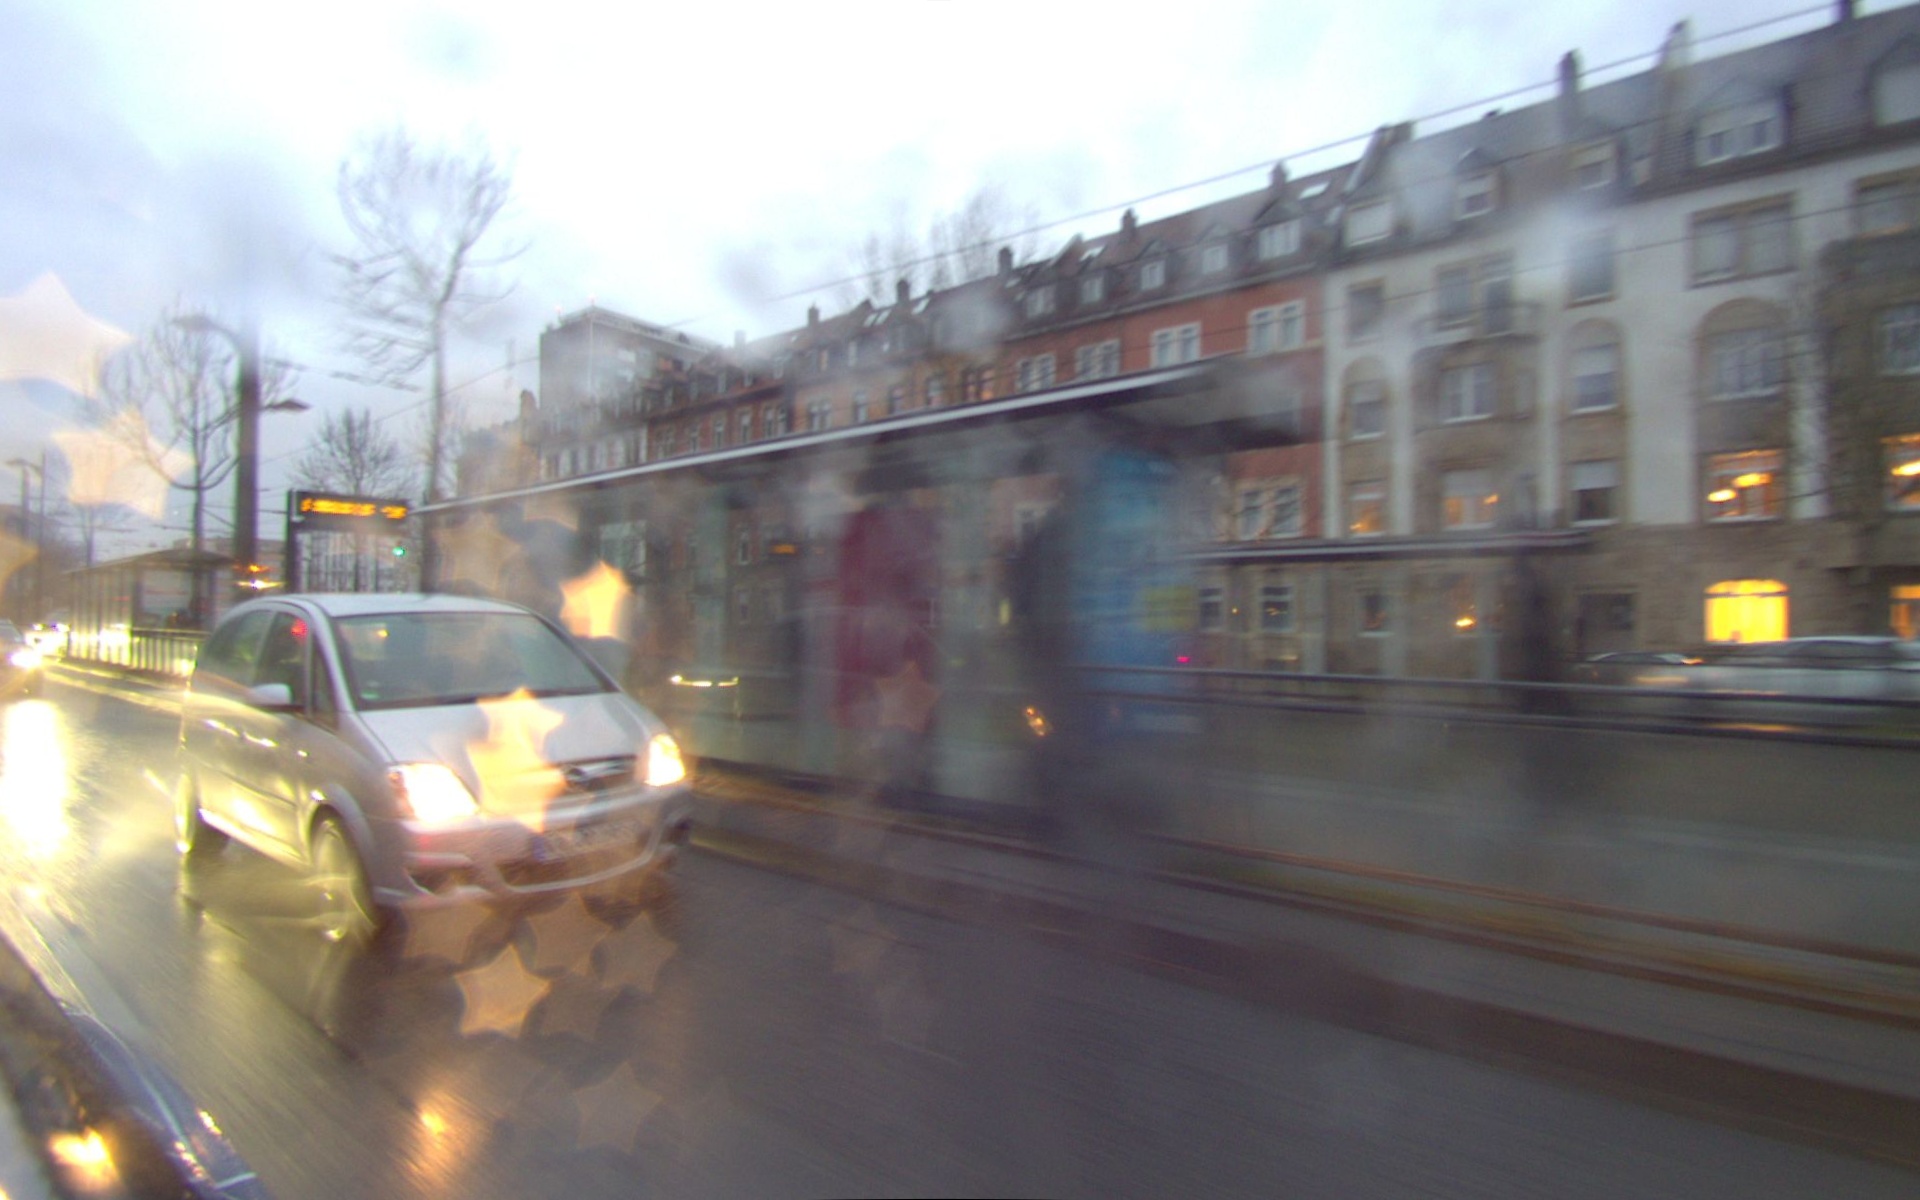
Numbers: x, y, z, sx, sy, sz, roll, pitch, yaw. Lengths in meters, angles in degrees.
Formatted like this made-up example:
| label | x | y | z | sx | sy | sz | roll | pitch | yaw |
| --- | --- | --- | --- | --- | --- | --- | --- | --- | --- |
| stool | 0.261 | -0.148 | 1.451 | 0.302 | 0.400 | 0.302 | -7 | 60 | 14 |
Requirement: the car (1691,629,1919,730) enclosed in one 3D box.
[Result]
| label | x | y | z | sx | sy | sz | roll | pitch | yaw |
| --- | --- | --- | --- | --- | --- | --- | --- | --- | --- |
| car | 14.252 | 1.248 | 16.396 | 3.765 | 1.501 | 1.637 | -1 | -4 | 41 |

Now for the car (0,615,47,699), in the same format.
| label | x | y | z | sx | sy | sz | roll | pitch | yaw |
| --- | --- | --- | --- | --- | --- | --- | --- | --- | --- |
| car | -19.317 | 1.073 | 19.736 | 3.998 | 1.556 | 1.730 | -1 | -4 | 41 |

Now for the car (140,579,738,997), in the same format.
| label | x | y | z | sx | sy | sz | roll | pitch | yaw |
| --- | --- | --- | --- | --- | --- | --- | --- | --- | --- |
| car | -3.180 | 0.752 | 5.773 | 4.107 | 1.560 | 1.628 | -1 | -2 | 41 |

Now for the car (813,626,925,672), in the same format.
| label | x | y | z | sx | sy | sz | roll | pitch | yaw |
| --- | --- | --- | --- | --- | --- | --- | --- | --- | --- |
| car | -3.131 | 1.651 | 34.429 | 3.765 | 1.501 | 1.637 | -1 | -4 | 41 |

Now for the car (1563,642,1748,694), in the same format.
| label | x | y | z | sx | sy | sz | roll | pitch | yaw |
| --- | --- | --- | --- | --- | --- | --- | --- | --- | --- |
| car | 16.289 | 1.565 | 23.773 | 3.416 | 1.079 | 1.637 | -1 | -4 | 41 |

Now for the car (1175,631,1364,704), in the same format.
| label | x | y | z | sx | sy | sz | roll | pitch | yaw |
| --- | --- | --- | --- | --- | --- | --- | --- | --- | --- |
| car | 6.916 | 1.480 | 22.813 | 3.765 | 1.501 | 1.637 | -1 | -4 | 41 |
